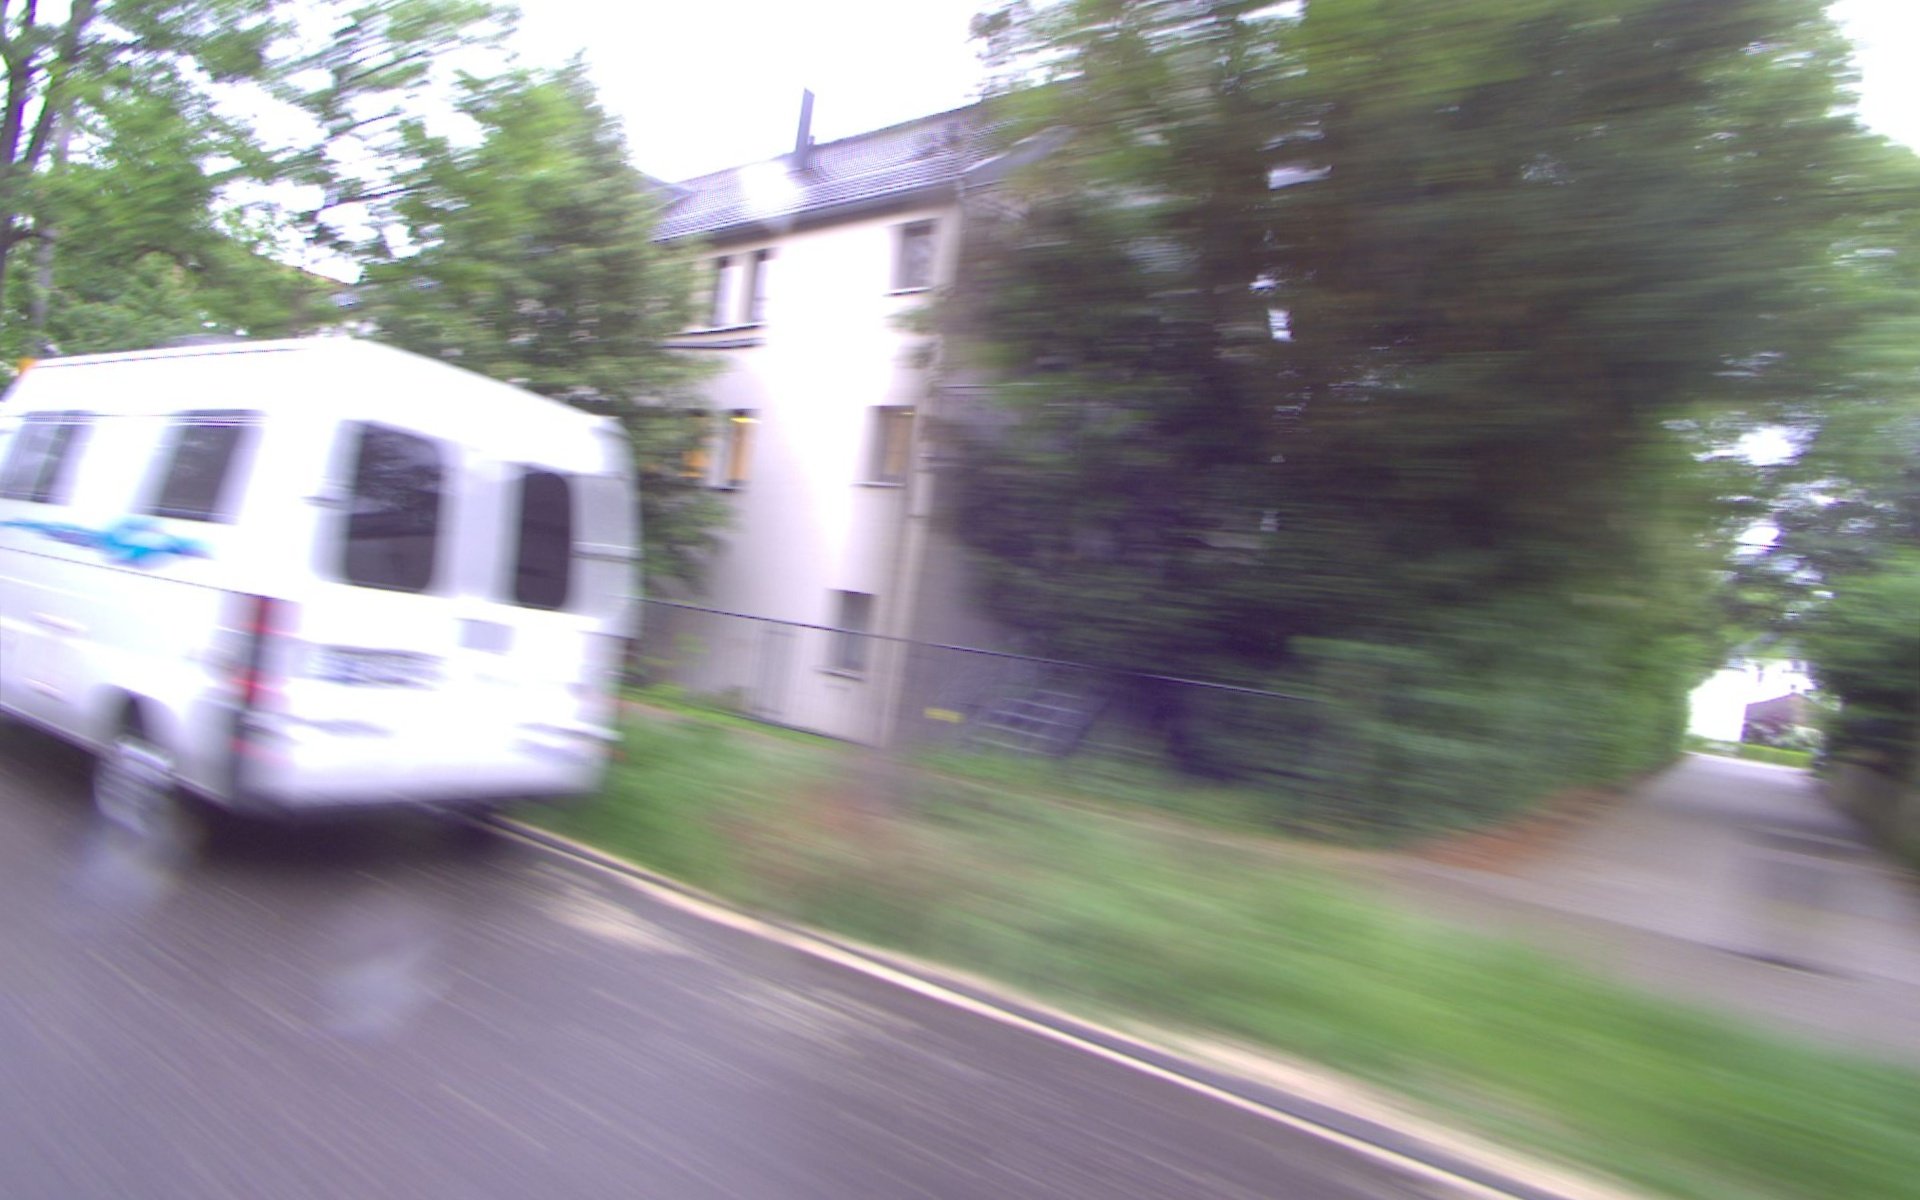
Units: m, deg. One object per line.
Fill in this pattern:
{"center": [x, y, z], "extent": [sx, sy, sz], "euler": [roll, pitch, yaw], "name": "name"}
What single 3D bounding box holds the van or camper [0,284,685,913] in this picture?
{"center": [-4.607, -0.158, 6.292], "extent": [5.545, 2.506, 2.043], "euler": [7, -3, 32], "name": "van or camper"}
